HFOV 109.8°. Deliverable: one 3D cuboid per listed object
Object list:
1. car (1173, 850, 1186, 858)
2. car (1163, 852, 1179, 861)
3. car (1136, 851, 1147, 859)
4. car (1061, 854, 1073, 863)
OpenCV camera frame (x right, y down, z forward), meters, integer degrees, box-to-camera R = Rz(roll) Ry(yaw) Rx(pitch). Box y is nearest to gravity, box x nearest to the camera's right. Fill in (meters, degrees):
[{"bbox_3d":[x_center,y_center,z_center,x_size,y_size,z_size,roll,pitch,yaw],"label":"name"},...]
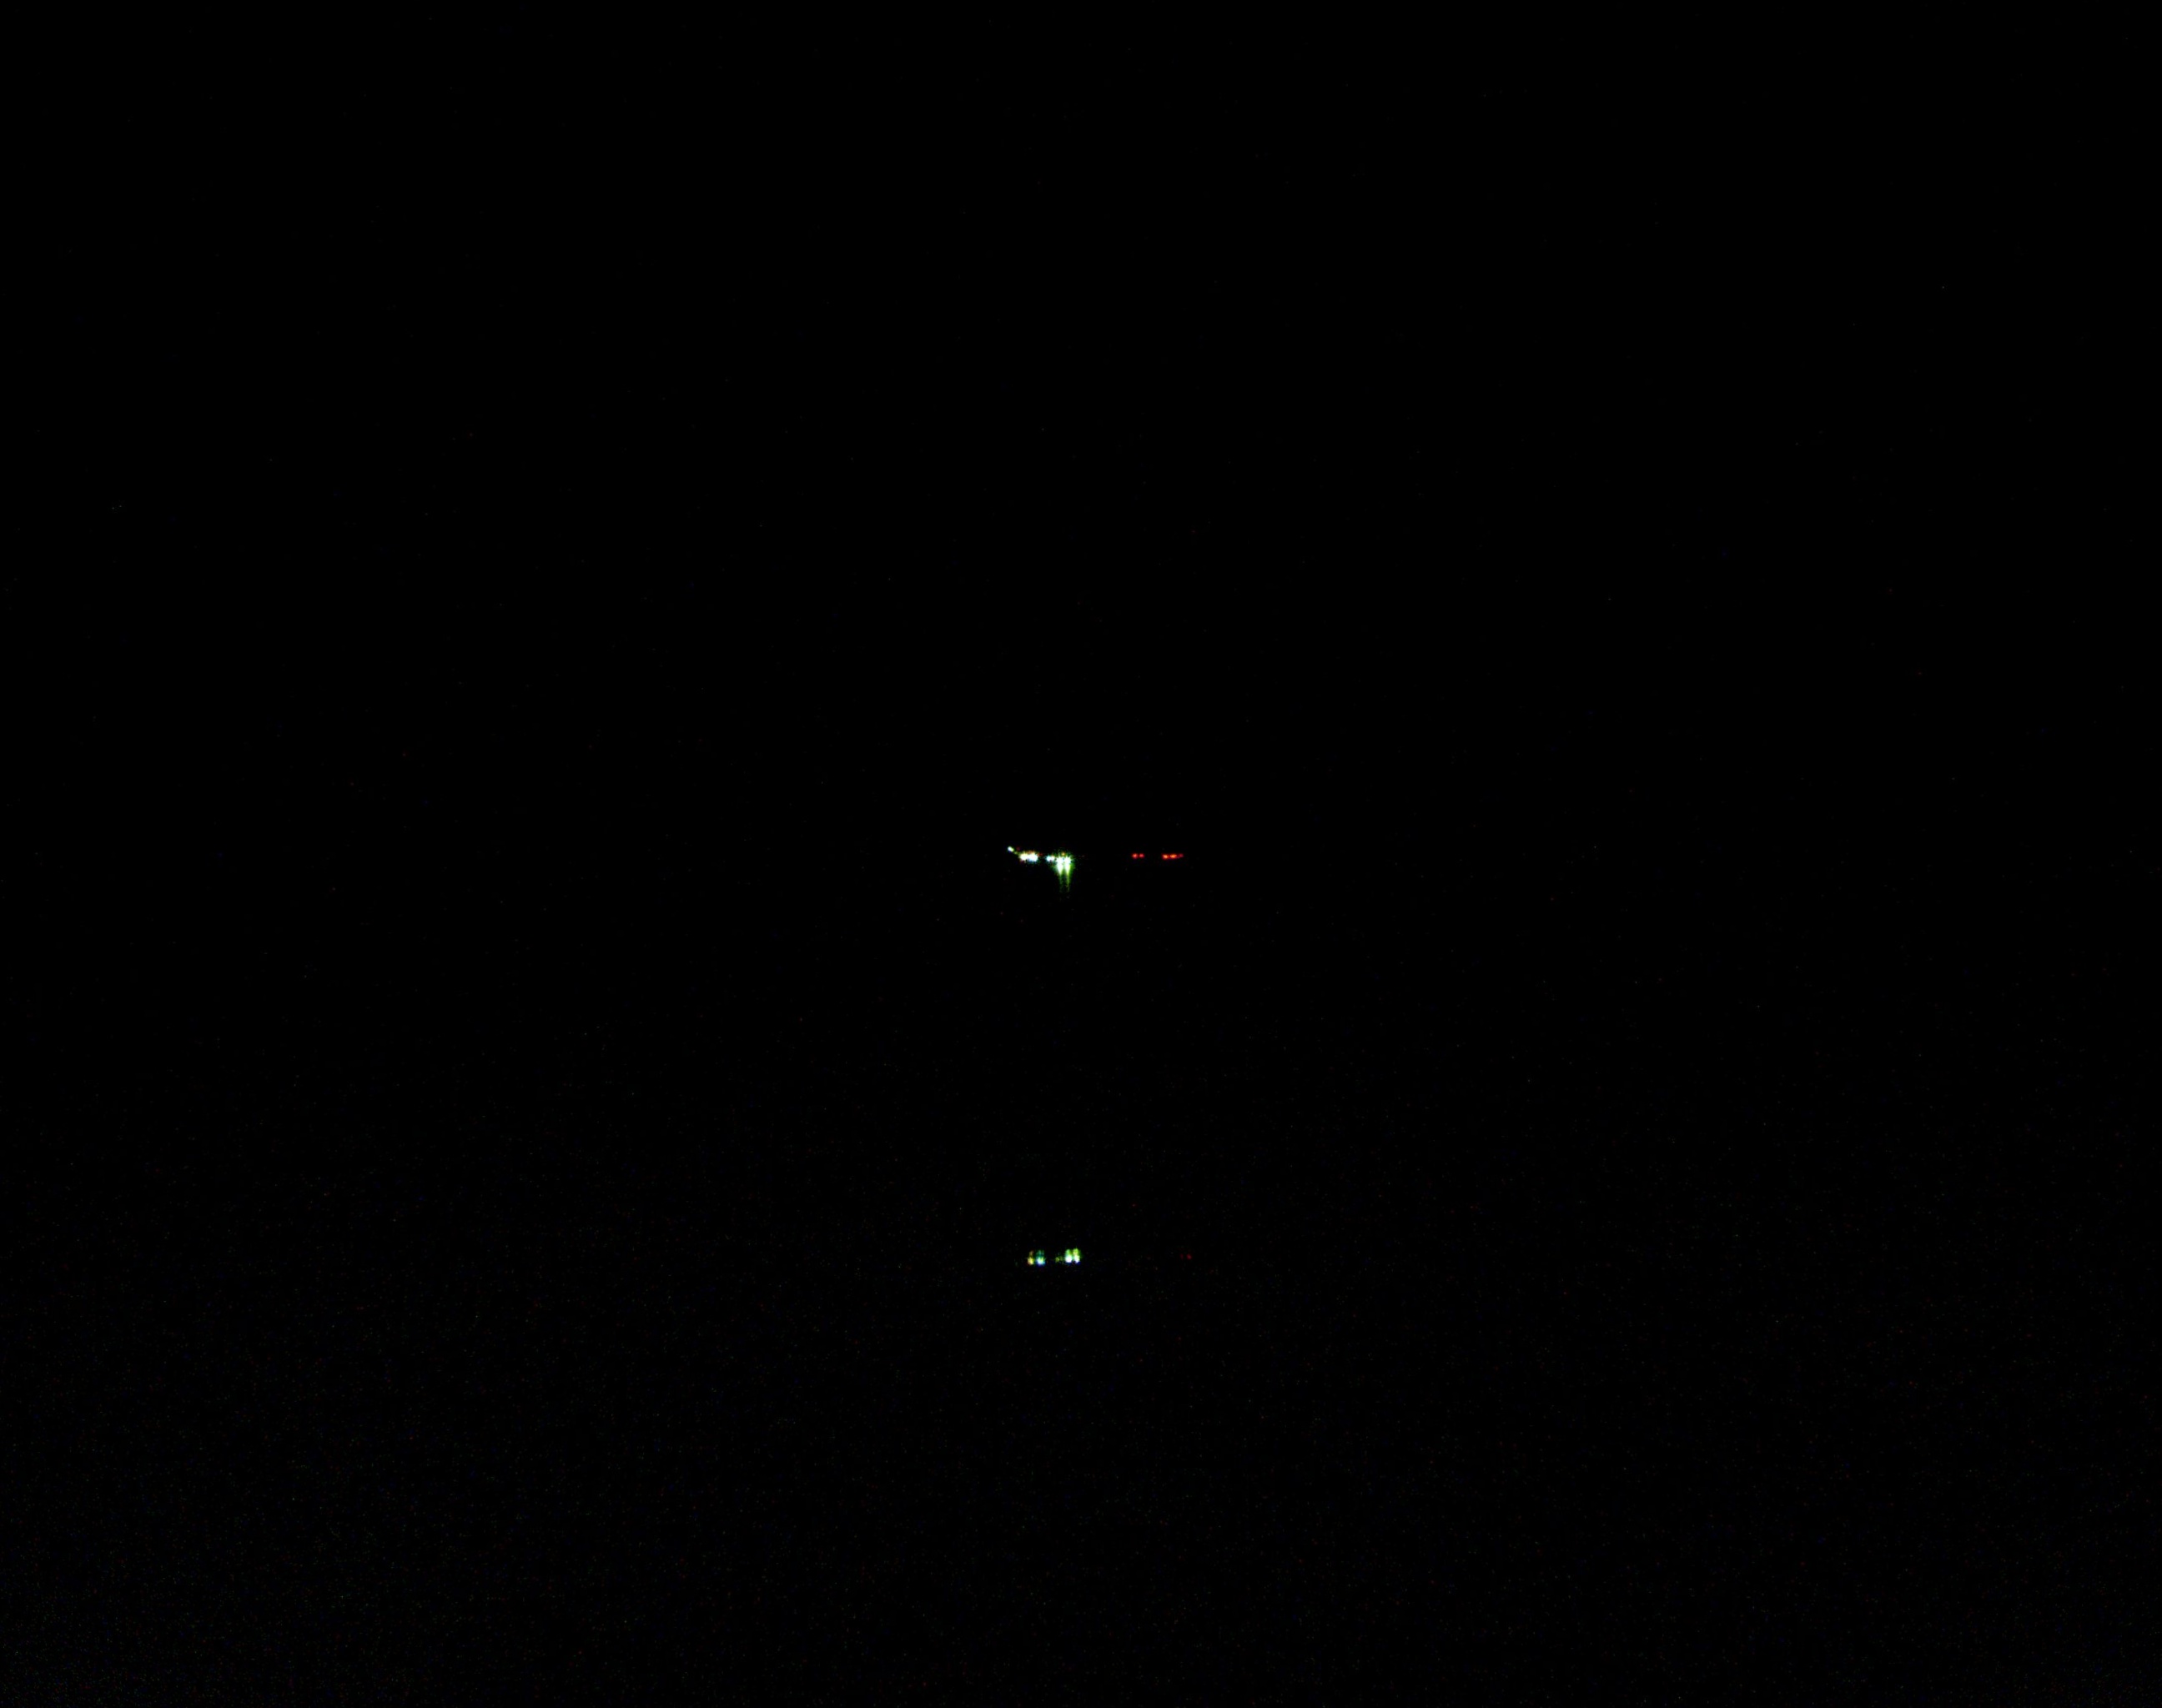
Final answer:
[{"bbox_3d":[19.780,0.061,152.839,1.999,1.499,4.400,-2,1,0],"label":"car"},{"bbox_3d":[16.081,0.422,135.834,1.999,1.471,4.928,-2,1,-2],"label":"car"},{"bbox_3d":[13.878,0.260,174.140,1.998,1.780,4.679,-2,1,0],"label":"car"},{"bbox_3d":[-2.601,0.800,138.529,2.154,1.558,4.580,-2,1,-1],"label":"car"}]
